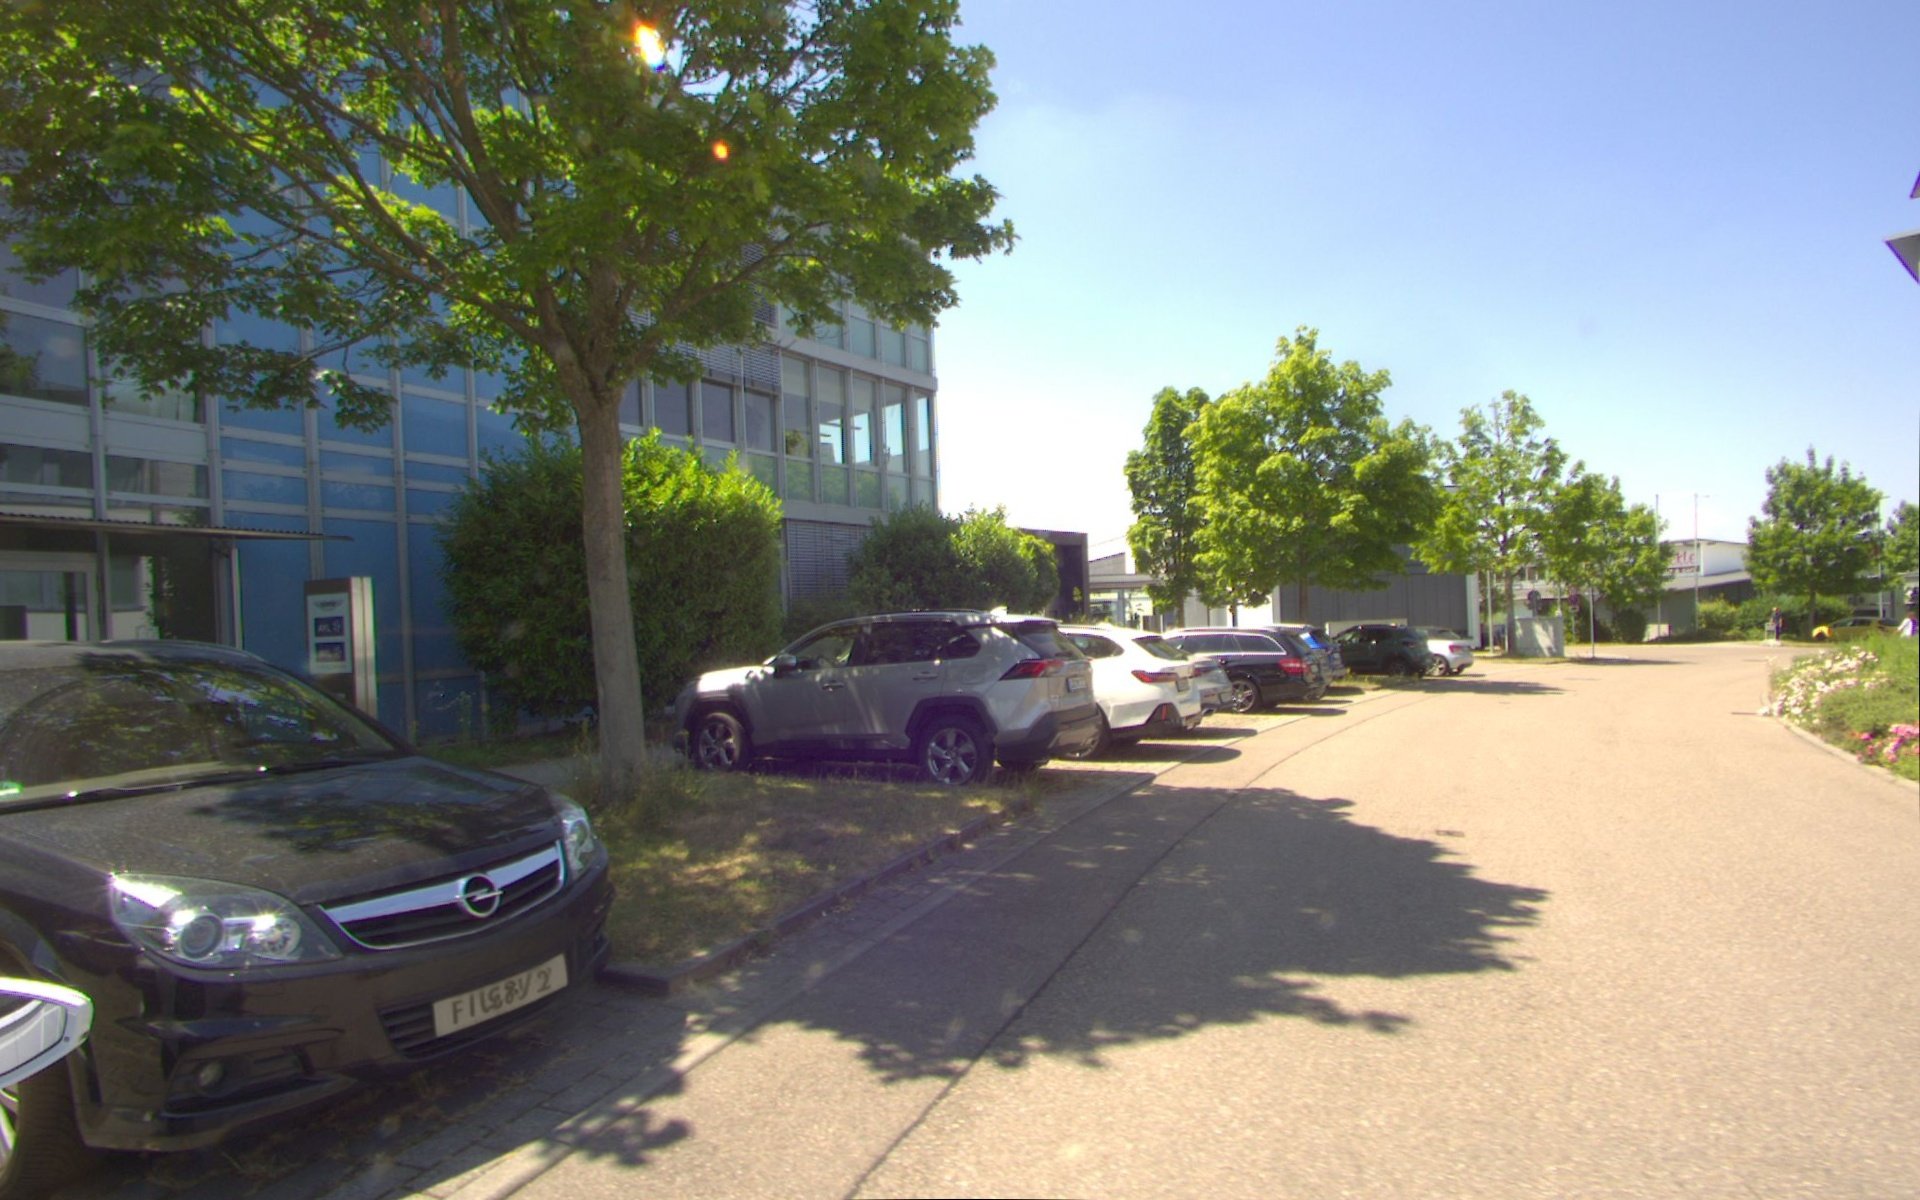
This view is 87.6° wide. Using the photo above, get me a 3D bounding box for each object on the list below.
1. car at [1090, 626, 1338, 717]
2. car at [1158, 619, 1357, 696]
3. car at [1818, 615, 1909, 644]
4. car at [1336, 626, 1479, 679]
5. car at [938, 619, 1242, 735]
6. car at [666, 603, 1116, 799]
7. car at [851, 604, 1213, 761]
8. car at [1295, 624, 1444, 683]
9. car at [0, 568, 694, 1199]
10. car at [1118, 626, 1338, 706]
[{"bbox_3d":[4.594,1.228,18.334,4.119,1.505,1.652,-1,-1,33],"label":"car"},{"bbox_3d":[6.842,1.277,23.237,4.128,1.625,1.648,-1,-2,40],"label":"car"},{"bbox_3d":[47.288,1.558,52.504,1.560,1.460,3.213,-1,-2,-13],"label":"car"},{"bbox_3d":[13.207,1.505,29.626,3.552,1.461,1.621,-1,-2,44],"label":"car"},{"bbox_3d":[1.874,1.049,14.618,4.110,1.505,1.655,-1,-1,26],"label":"car"},{"bbox_3d":[-0.728,0.905,10.246,4.262,1.664,1.851,-1,-1,26],"label":"car"},{"bbox_3d":[0.855,0.926,12.291,4.135,1.664,1.655,-1,-1,26],"label":"car"},{"bbox_3d":[11.433,1.464,28.067,3.552,1.545,1.621,-1,-2,44],"label":"car"},{"bbox_3d":[-3.412,0.810,3.870,4.490,1.569,1.759,-2,-2,24],"label":"car"},{"bbox_3d":[5.469,1.282,20.486,4.111,1.505,1.655,-1,-1,26],"label":"car"}]
